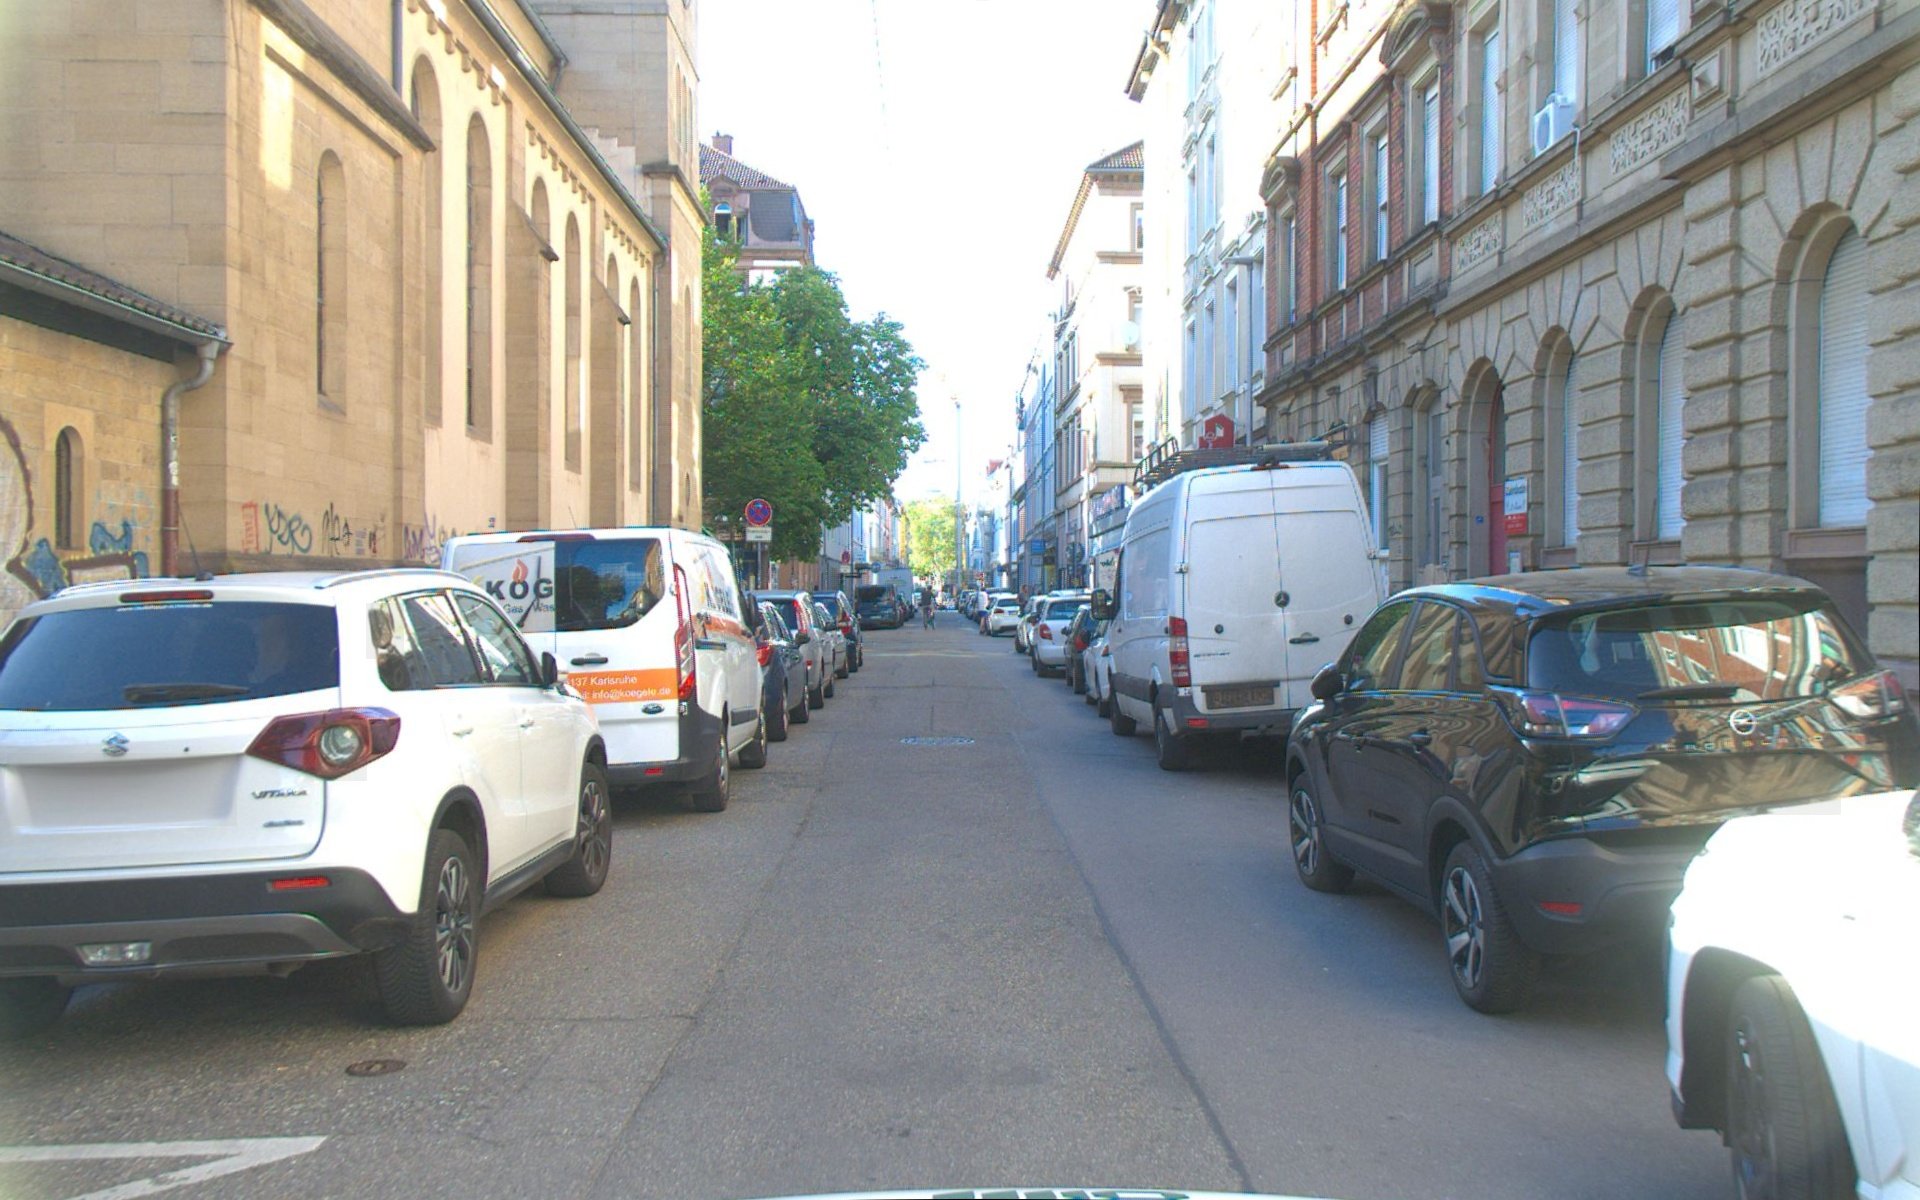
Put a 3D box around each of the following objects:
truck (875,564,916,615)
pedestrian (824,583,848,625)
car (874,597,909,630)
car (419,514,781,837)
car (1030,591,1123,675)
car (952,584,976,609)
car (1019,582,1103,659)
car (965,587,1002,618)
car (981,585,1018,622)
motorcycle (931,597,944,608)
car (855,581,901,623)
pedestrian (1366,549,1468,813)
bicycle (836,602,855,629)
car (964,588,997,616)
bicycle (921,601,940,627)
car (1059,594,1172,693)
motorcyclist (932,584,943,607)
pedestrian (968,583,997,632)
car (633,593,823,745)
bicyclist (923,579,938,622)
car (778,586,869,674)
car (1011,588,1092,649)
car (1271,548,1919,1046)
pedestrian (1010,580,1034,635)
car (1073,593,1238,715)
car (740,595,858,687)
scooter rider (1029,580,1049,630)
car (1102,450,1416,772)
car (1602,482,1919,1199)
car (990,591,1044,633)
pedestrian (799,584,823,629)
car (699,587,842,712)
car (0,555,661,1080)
[{"bbox_3d":[-4.294,-0.684,111.426,2.480,3.339,6.994,0,0,0],"label":"truck"},{"bbox_3d":[-4.988,0.157,66.754,0.910,1.666,0.806,0,0,0],"label":"pedestrian"},{"bbox_3d":[-3.915,0.760,94.776,1.837,1.828,4.000,0,0,0],"label":"car"},{"bbox_3d":[-2.532,0.464,12.800,1.826,1.991,4.609,-2,0,-1],"label":"car"},{"bbox_3d":[2.254,0.611,32.803,1.571,1.531,4.000,1,0,0],"label":"car"},{"bbox_3d":[0.307,-0.304,137.417,1.953,2.049,4.000,0,0,0],"label":"car"},{"bbox_3d":[2.279,0.444,38.158,1.681,1.674,4.000,0,0,0],"label":"car"},{"bbox_3d":[1.337,0.139,95.355,1.953,1.660,4.000,2,0,0],"label":"car"},{"bbox_3d":[1.929,0.168,81.937,1.733,1.771,4.000,0,0,0],"label":"car"},{"bbox_3d":[-1.989,0.229,145.421,1.021,0.997,2.823,0,0,-3],"label":"motorcycle"},{"bbox_3d":[-3.593,0.075,73.225,1.837,1.828,4.000,0,0,0],"label":"car"},{"bbox_3d":[3.244,0.558,11.791,0.626,1.803,0.679,1,0,13],"label":"pedestrian"},{"bbox_3d":[-4.858,0.657,70.081,0.633,1.128,1.600,0,0,-11],"label":"bicycle"},{"bbox_3d":[1.292,0.122,105.993,1.953,1.715,4.000,2,0,0],"label":"car"},{"bbox_3d":[-1.197,0.558,67.649,0.724,1.062,1.859,0,0,0],"label":"bicycle"},{"bbox_3d":[2.560,0.682,27.892,1.537,1.521,3.653,1,0,0],"label":"car"},{"bbox_3d":[-1.980,-0.393,145.238,0.884,2.049,1.190,0,0,-3],"label":"motorcyclist"},{"bbox_3d":[0.865,0.285,63.540,0.767,1.875,1.011,1,0,25],"label":"pedestrian"},{"bbox_3d":[-2.511,0.688,18.684,1.582,1.477,3.950,-2,0,-1],"label":"car"},{"bbox_3d":[-1.193,0.021,67.575,0.593,1.717,0.885,0,0,-1],"label":"bicyclist"},{"bbox_3d":[-2.741,0.577,33.882,1.568,1.642,3.807,-2,0,-1],"label":"car"},{"bbox_3d":[2.339,0.455,43.125,1.682,1.514,3.867,0,0,-3],"label":"car"},{"bbox_3d":[2.631,0.649,7.525,1.653,1.671,3.924,0,0,-1],"label":"car"},{"bbox_3d":[2.109,0.252,56.136,0.669,1.875,0.692,0,0,-12],"label":"pedestrian"},{"bbox_3d":[2.639,0.680,23.268,1.743,1.512,4.359,1,0,-1],"label":"car"},{"bbox_3d":[-2.792,0.680,29.379,1.538,1.422,3.809,-4,0,2],"label":"car"},{"bbox_3d":[2.626,0.161,55.046,0.636,1.671,0.684,0,0,5],"label":"scooter rider"},{"bbox_3d":[2.730,0.065,16.647,2.026,2.656,5.887,0,0,-1],"label":"car"},{"bbox_3d":[2.588,0.672,2.230,1.771,1.719,4.214,2,0,0],"label":"car"},{"bbox_3d":[2.071,0.416,61.174,1.859,1.514,3.869,0,0,0],"label":"car"},{"bbox_3d":[-6.090,0.274,67.547,0.910,1.817,0.806,0,0,0],"label":"pedestrian"},{"bbox_3d":[-2.590,0.635,23.411,1.639,1.586,3.999,-1,0,-2],"label":"car"},{"bbox_3d":[-2.458,0.661,7.026,1.707,1.614,3.868,0,0,-1],"label":"car"}]
